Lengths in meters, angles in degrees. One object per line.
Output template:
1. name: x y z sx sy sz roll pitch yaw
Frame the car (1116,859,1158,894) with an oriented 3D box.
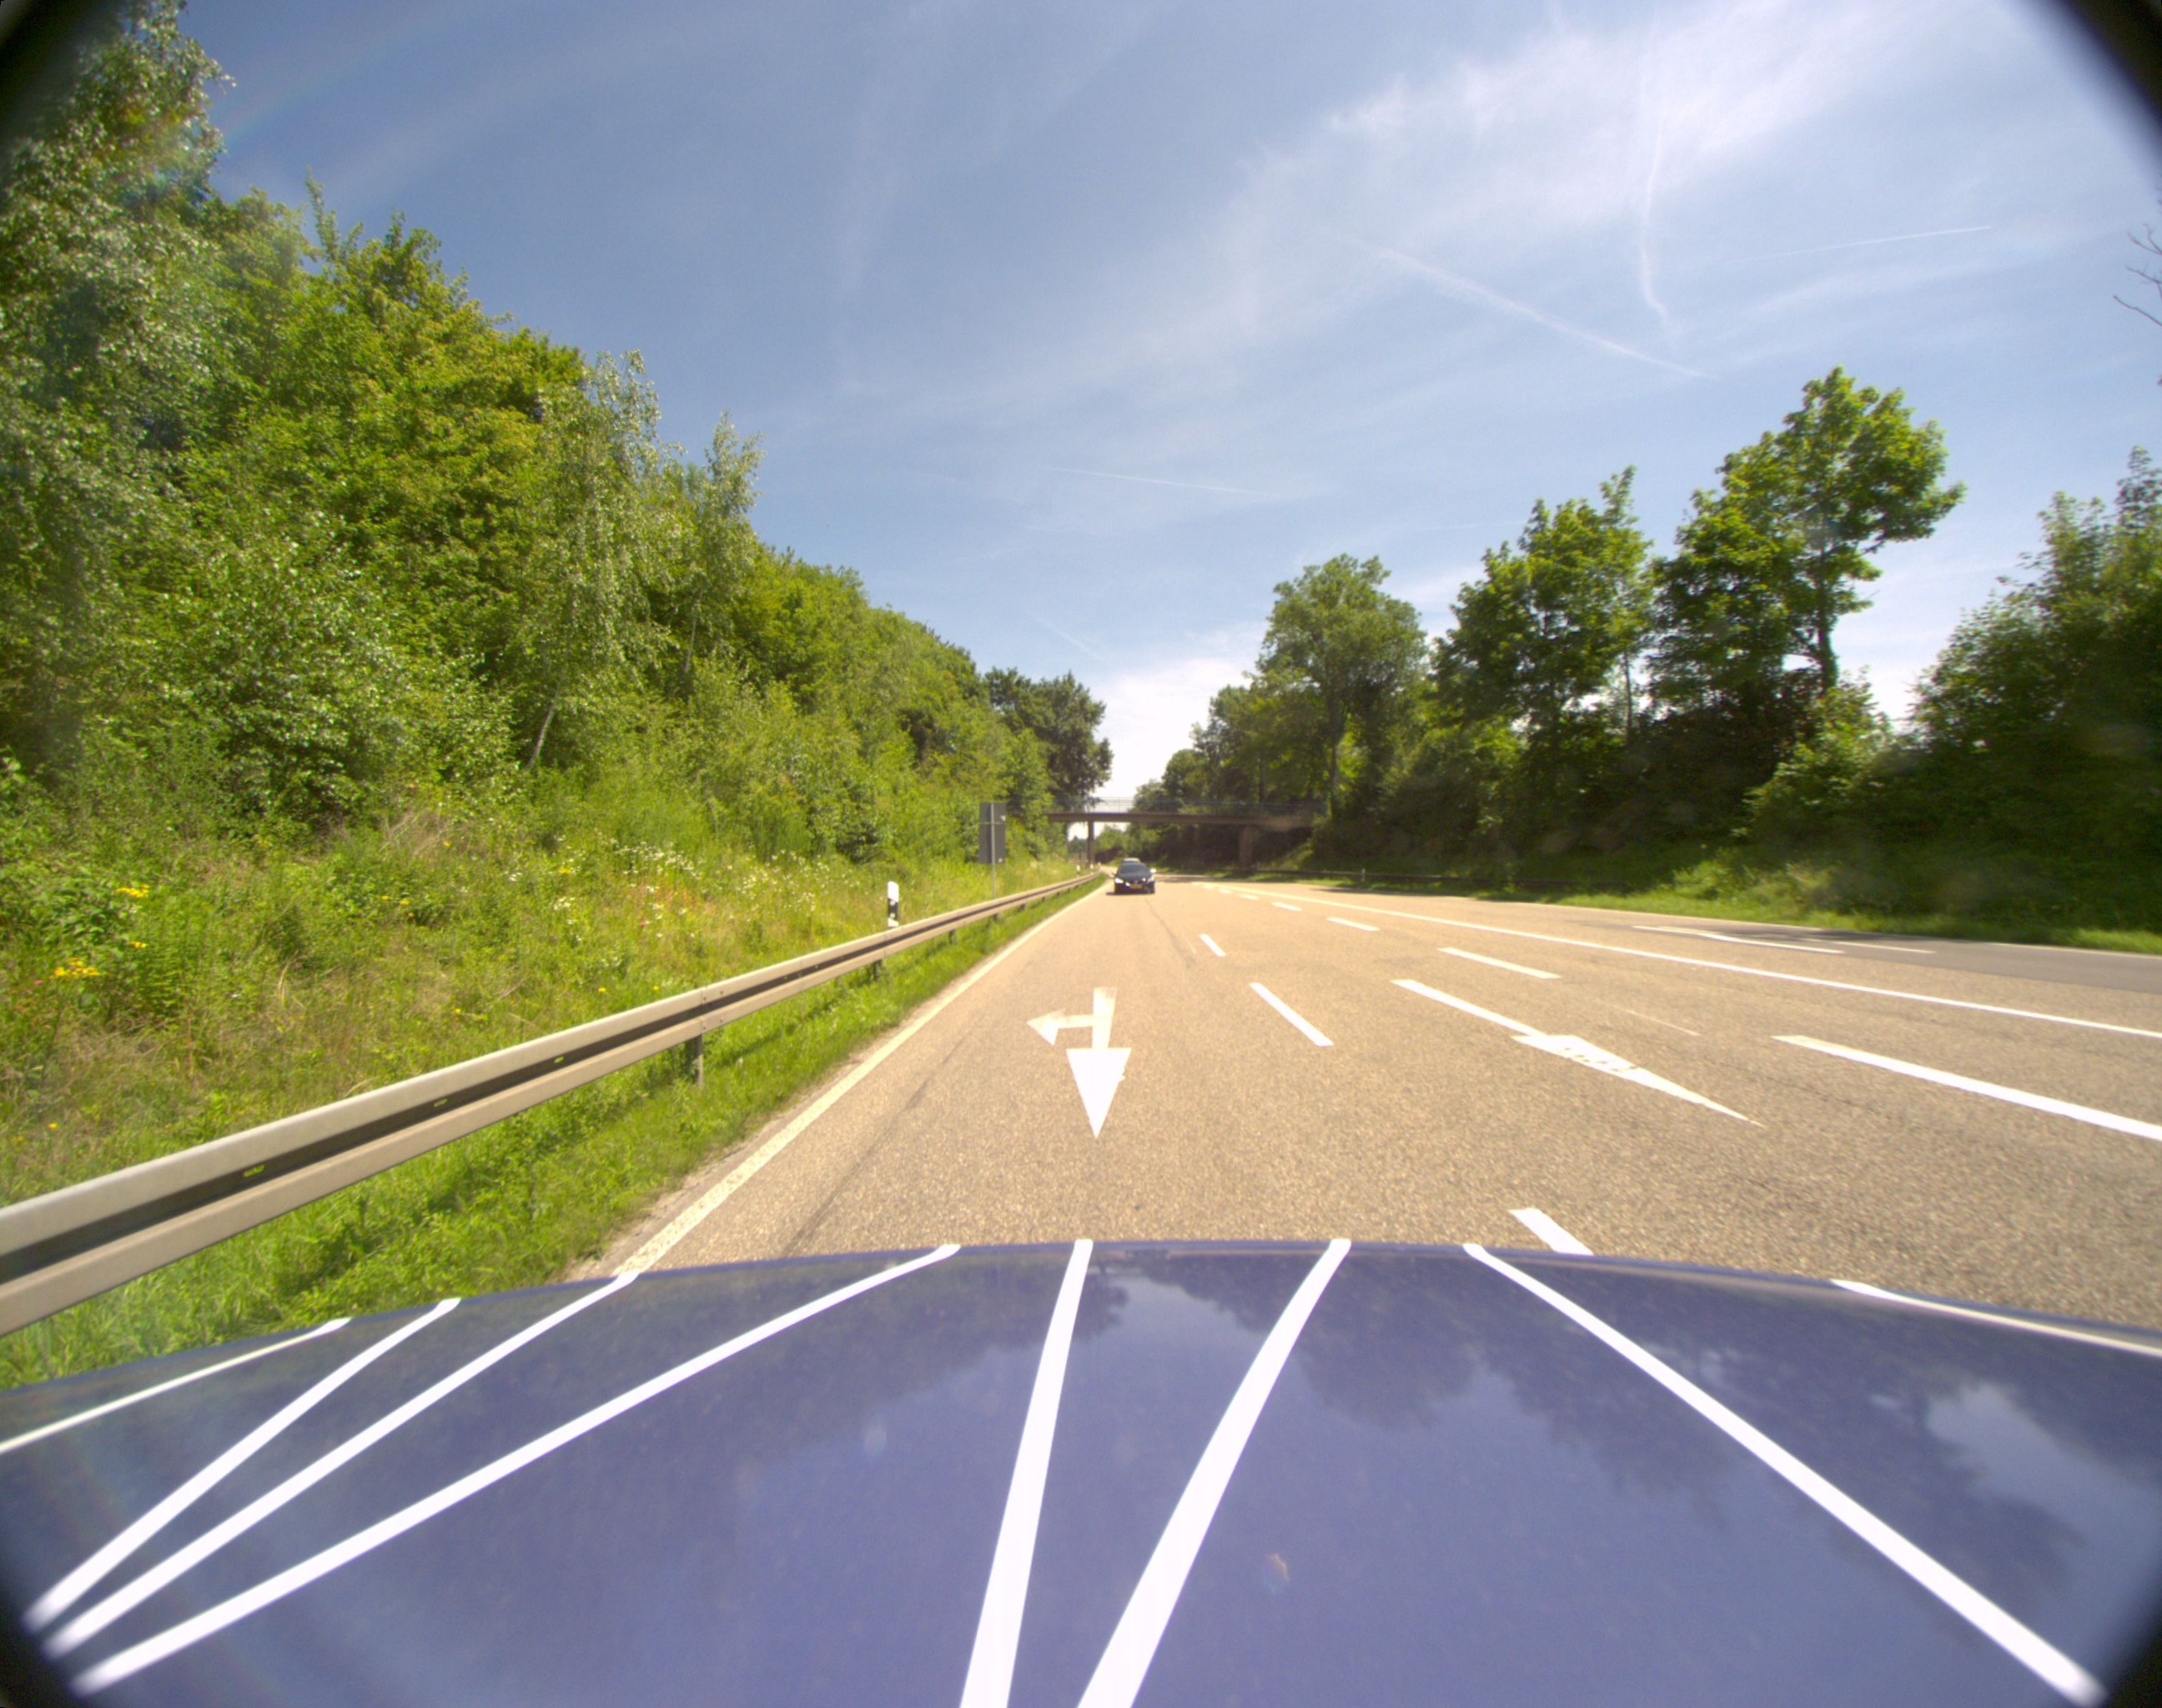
1. car: 2.509 0.987 35.049 1.690 1.390 4.403 -1 1 1
